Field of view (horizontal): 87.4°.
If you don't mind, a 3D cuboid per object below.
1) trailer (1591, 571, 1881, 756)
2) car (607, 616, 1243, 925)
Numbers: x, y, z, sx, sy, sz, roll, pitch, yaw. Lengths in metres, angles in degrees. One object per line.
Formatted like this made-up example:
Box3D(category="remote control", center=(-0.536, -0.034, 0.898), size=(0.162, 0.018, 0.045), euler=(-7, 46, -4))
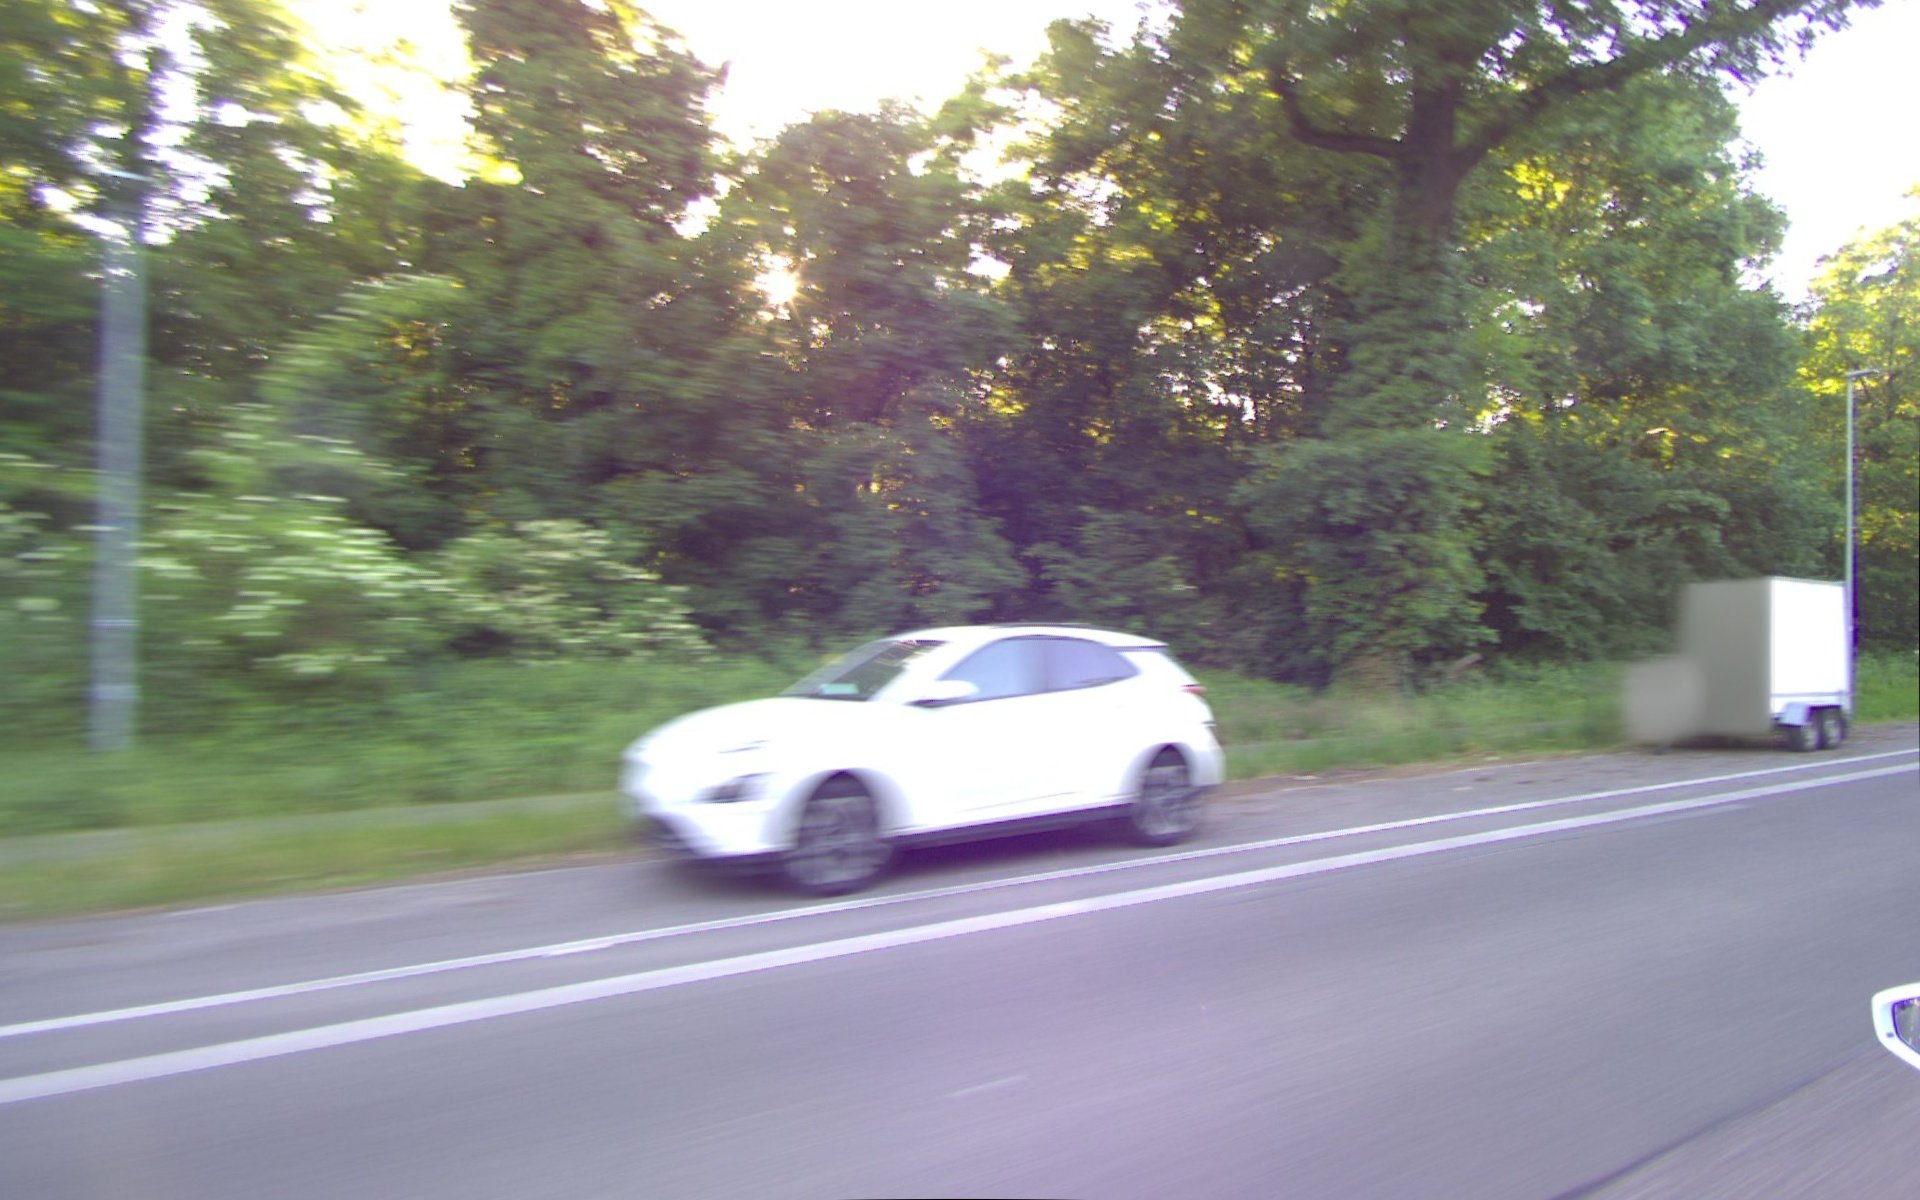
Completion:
Box3D(category="trailer", center=(11.101, 0.860, 14.388), size=(3.443, 2.323, 2.067), euler=(1, -2, -28))
Box3D(category="car", center=(-0.144, 0.959, 7.094), size=(4.161, 1.592, 1.805), euler=(1, -3, -32))
